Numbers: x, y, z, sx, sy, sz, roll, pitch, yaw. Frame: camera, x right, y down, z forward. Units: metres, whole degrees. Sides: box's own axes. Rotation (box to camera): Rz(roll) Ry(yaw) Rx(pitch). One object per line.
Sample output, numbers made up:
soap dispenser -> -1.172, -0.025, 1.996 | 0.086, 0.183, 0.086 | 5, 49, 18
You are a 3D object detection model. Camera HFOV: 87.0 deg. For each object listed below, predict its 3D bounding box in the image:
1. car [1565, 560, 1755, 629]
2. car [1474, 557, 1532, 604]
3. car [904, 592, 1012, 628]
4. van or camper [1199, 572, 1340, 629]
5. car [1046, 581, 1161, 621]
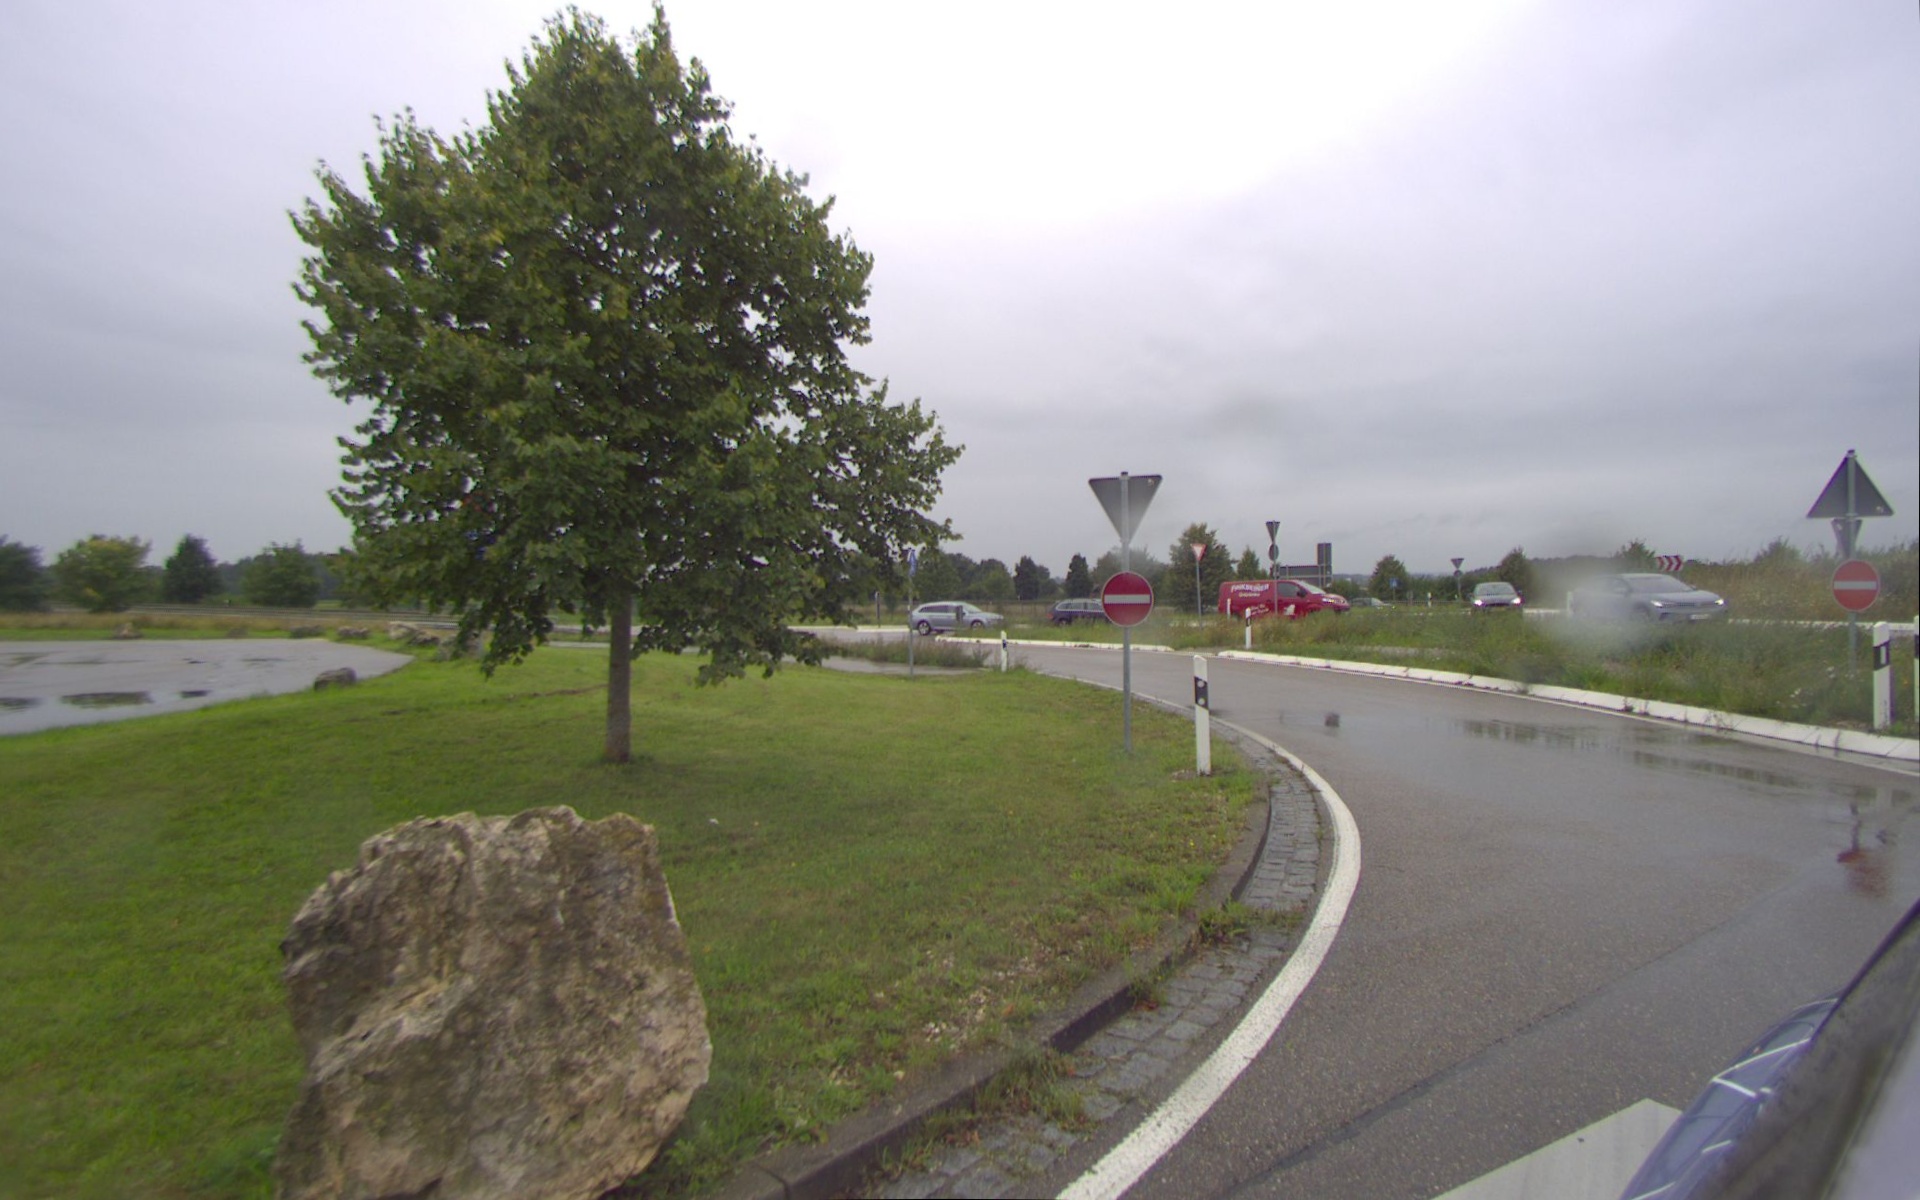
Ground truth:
car -> 18.442, -0.164, 26.966 | 1.963, 1.594, 4.499 | -2, 1, 2
car -> 21.668, -0.804, 40.286 | 1.811, 1.610, 3.959 | -4, 1, 30
car -> -0.099, 0.453, 46.797 | 4.617, 1.500, 1.982 | -1, 2, 28
van or camper -> 11.986, 0.018, 39.364 | 4.827, 2.038, 1.971 | -1, 2, 42
car -> 6.143, 0.083, 43.401 | 4.483, 1.623, 1.980 | -1, -1, 29
